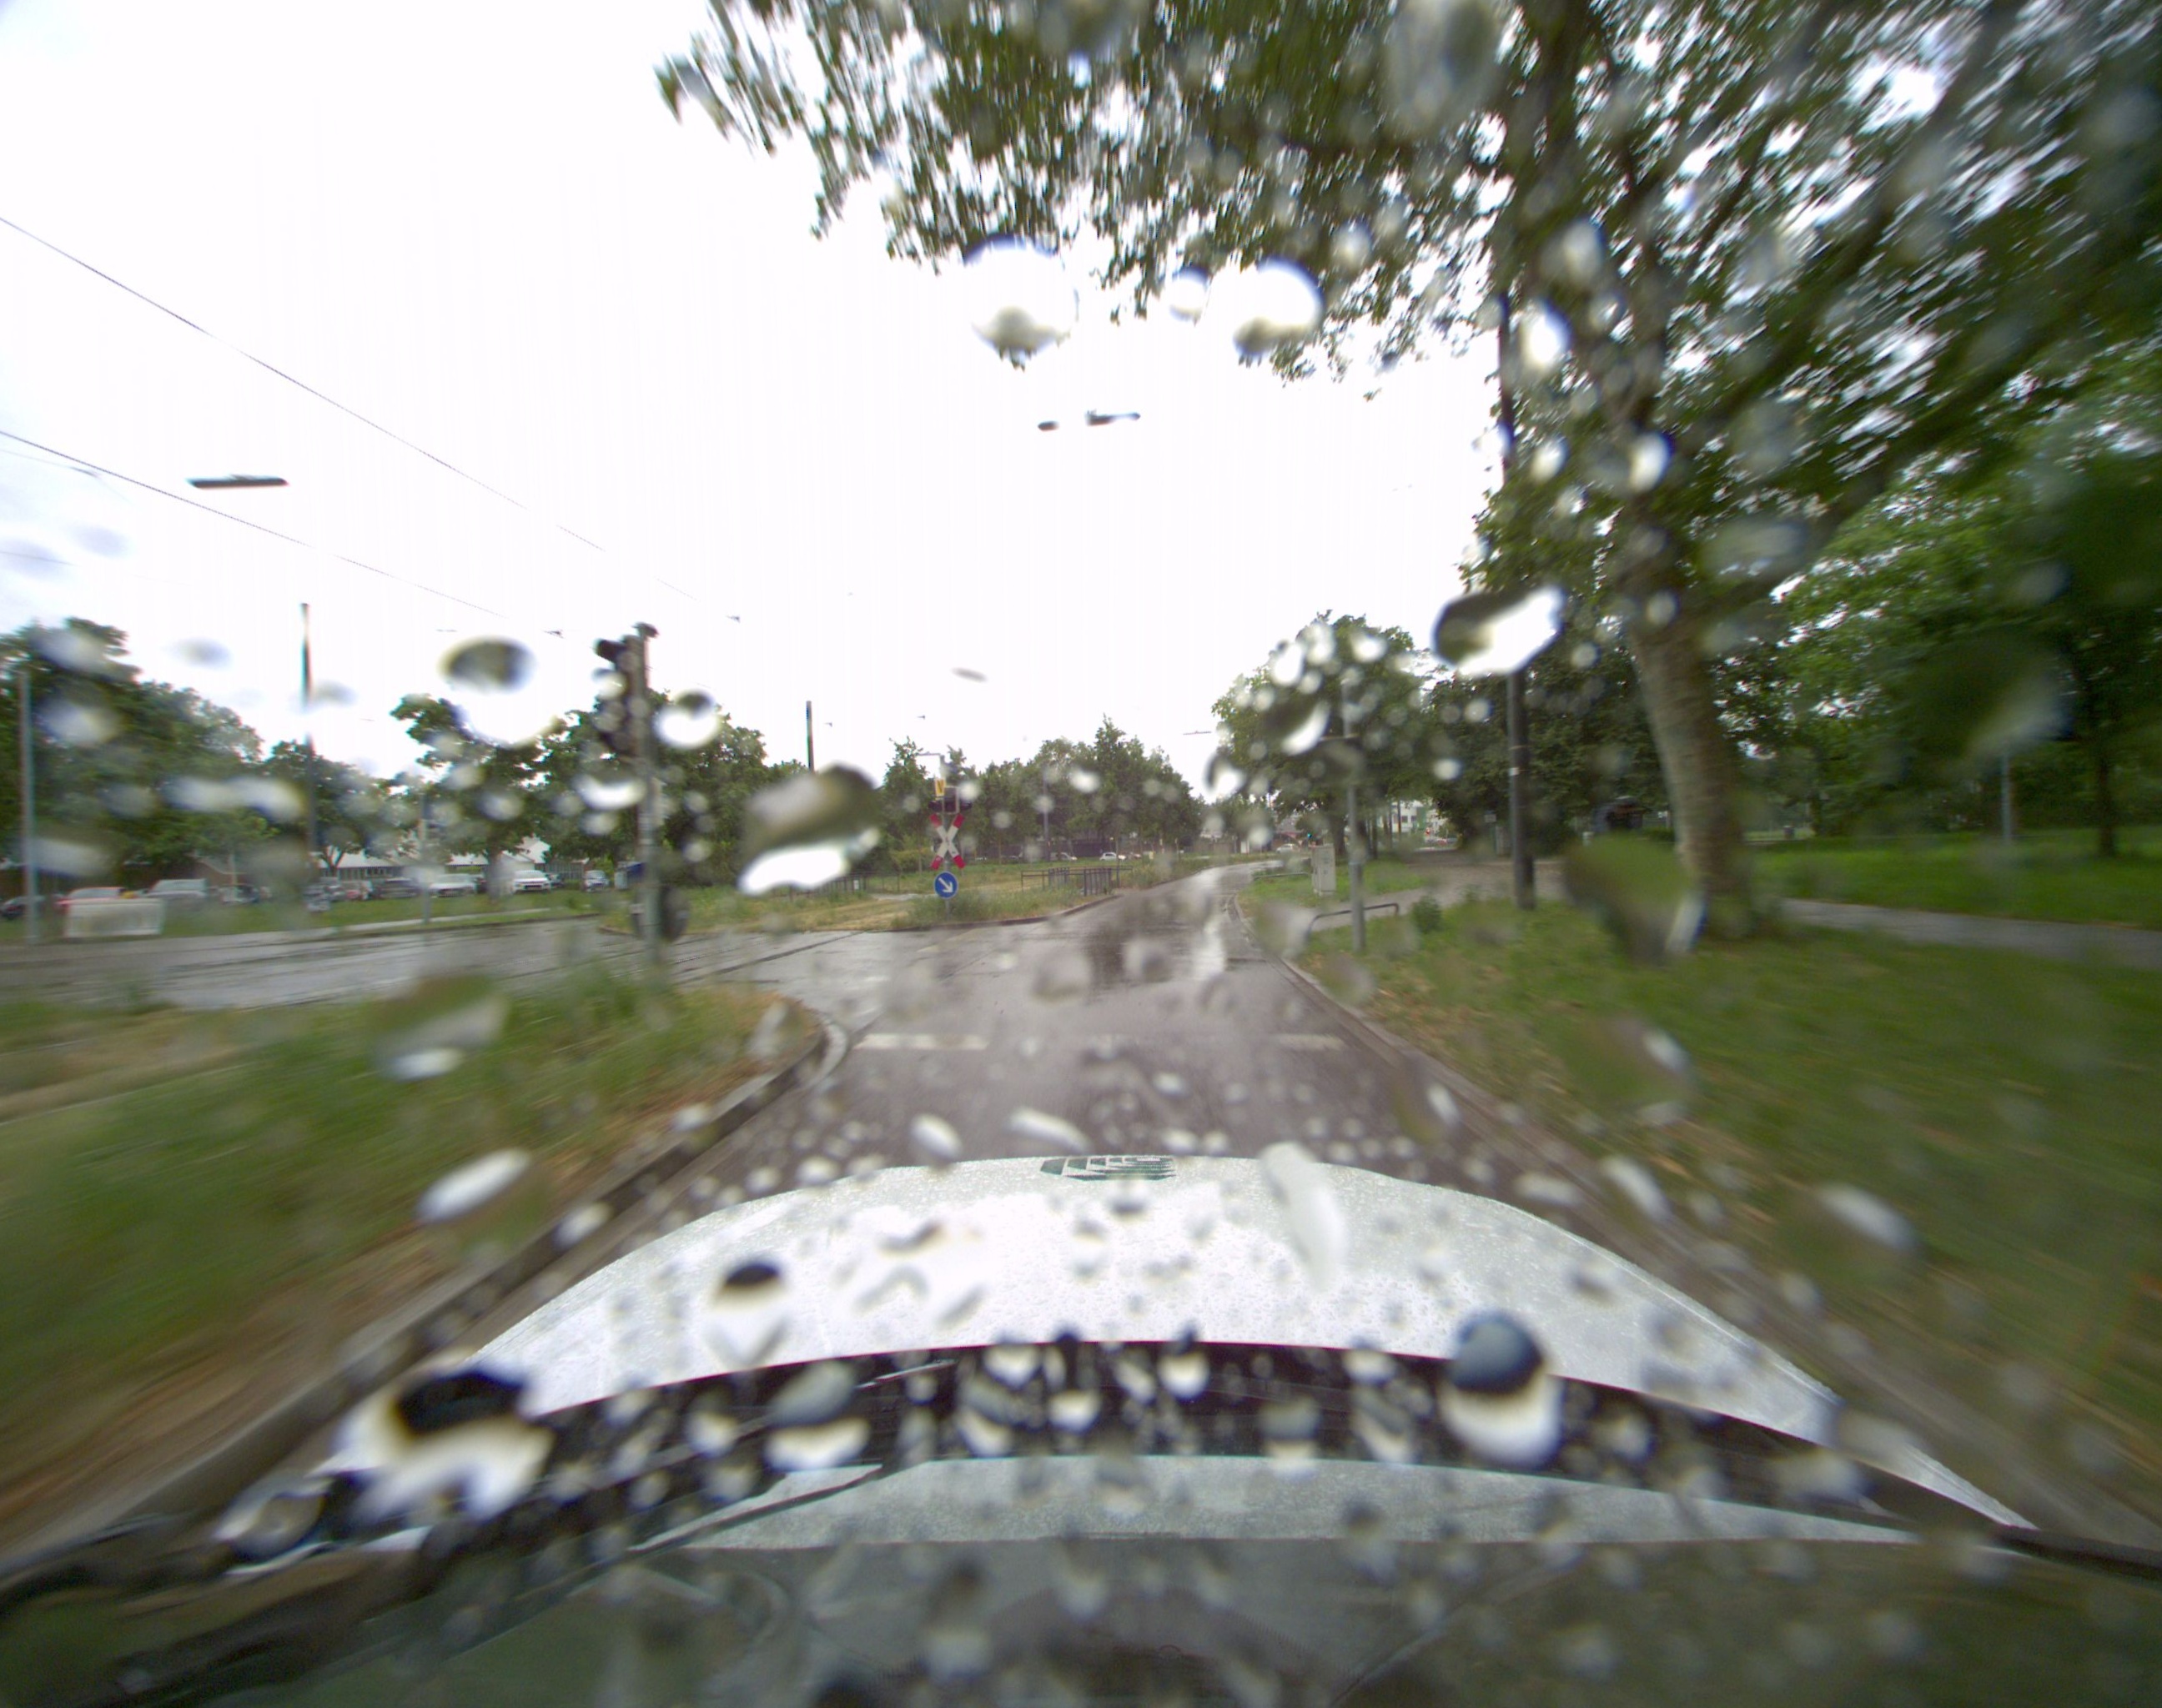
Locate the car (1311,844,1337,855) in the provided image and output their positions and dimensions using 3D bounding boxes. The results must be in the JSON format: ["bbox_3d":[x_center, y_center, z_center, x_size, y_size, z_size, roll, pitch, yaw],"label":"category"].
[{"bbox_3d":[33.145,-0.633,111.127,1.685,1.420,3.799,-3,0,-12],"label":"car"}]

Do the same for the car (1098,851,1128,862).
[{"bbox_3d":[4.819,0.419,121.703,4.033,1.499,1.660,-3,-1,18],"label":"car"}]

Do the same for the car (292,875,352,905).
[{"bbox_3d":[-35.903,1.698,38.596,1.673,1.249,3.700,-3,0,-38],"label":"car"}]

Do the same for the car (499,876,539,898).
[{"bbox_3d":[-35.761,2.090,51.778,1.674,1.249,3.698,-3,0,-40],"label":"car"}]

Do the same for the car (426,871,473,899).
[{"bbox_3d":[-31.526,1.529,40.631,1.674,1.249,3.698,-3,0,-40],"label":"car"}]

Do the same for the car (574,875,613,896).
[{"bbox_3d":[-32.861,2.103,54.851,1.674,1.249,3.698,-3,0,-40],"label":"car"}]

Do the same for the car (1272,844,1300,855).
[{"bbox_3d":[30.606,-0.641,121.546,1.546,1.420,3.954,-3,0,-38],"label":"car"}]

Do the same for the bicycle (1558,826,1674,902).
[{"bbox_3d":[8.803,0.145,13.511,0.708,1.142,1.974,-3,0,4],"label":"bicycle"}]

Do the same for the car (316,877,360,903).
[{"bbox_3d":[-42.645,2.056,46.794,1.674,1.325,3.698,-3,0,-40],"label":"car"}]

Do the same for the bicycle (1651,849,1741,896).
[{"bbox_3d":[10.058,0.286,13.364,0.484,0.708,1.460,-3,0,7],"label":"bicycle"}]

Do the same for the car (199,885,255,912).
[{"bbox_3d":[-46.207,2.390,44.143,1.674,1.325,3.698,-3,0,-40],"label":"car"}]

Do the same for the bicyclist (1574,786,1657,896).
[{"bbox_3d":[8.785,-0.212,13.415,0.708,1.721,0.958,-3,0,4],"label":"bicyclist"}]

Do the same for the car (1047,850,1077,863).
[{"bbox_3d":[-2.924,0.357,124.563,4.176,1.796,1.660,-2,1,17],"label":"car"}]

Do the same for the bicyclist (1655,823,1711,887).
[{"bbox_3d":[10.073,0.020,13.633,0.484,1.038,0.592,-3,-1,7],"label":"bicyclist"}]

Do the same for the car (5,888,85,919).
[{"bbox_3d":[-50.912,2.403,40.100,1.674,1.325,3.698,-3,0,-40],"label":"car"}]

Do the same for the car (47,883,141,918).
[{"bbox_3d":[-40.915,1.900,33.851,1.673,1.249,3.700,-3,0,-38],"label":"car"}]

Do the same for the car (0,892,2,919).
[{"bbox_3d":[-53.494,2.530,38.823,1.674,1.325,3.698,-3,0,-40],"label":"car"}]

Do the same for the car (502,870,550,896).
[{"bbox_3d":[-29.337,1.528,42.986,1.674,1.249,3.698,-3,0,-40],"label":"car"}]

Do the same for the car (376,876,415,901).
[{"bbox_3d":[-40.552,2.040,48.168,1.674,1.325,3.698,-3,0,-40],"label":"car"}]

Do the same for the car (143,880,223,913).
[{"bbox_3d":[-38.775,1.822,35.257,1.673,1.249,3.700,-3,0,-38],"label":"car"}]
